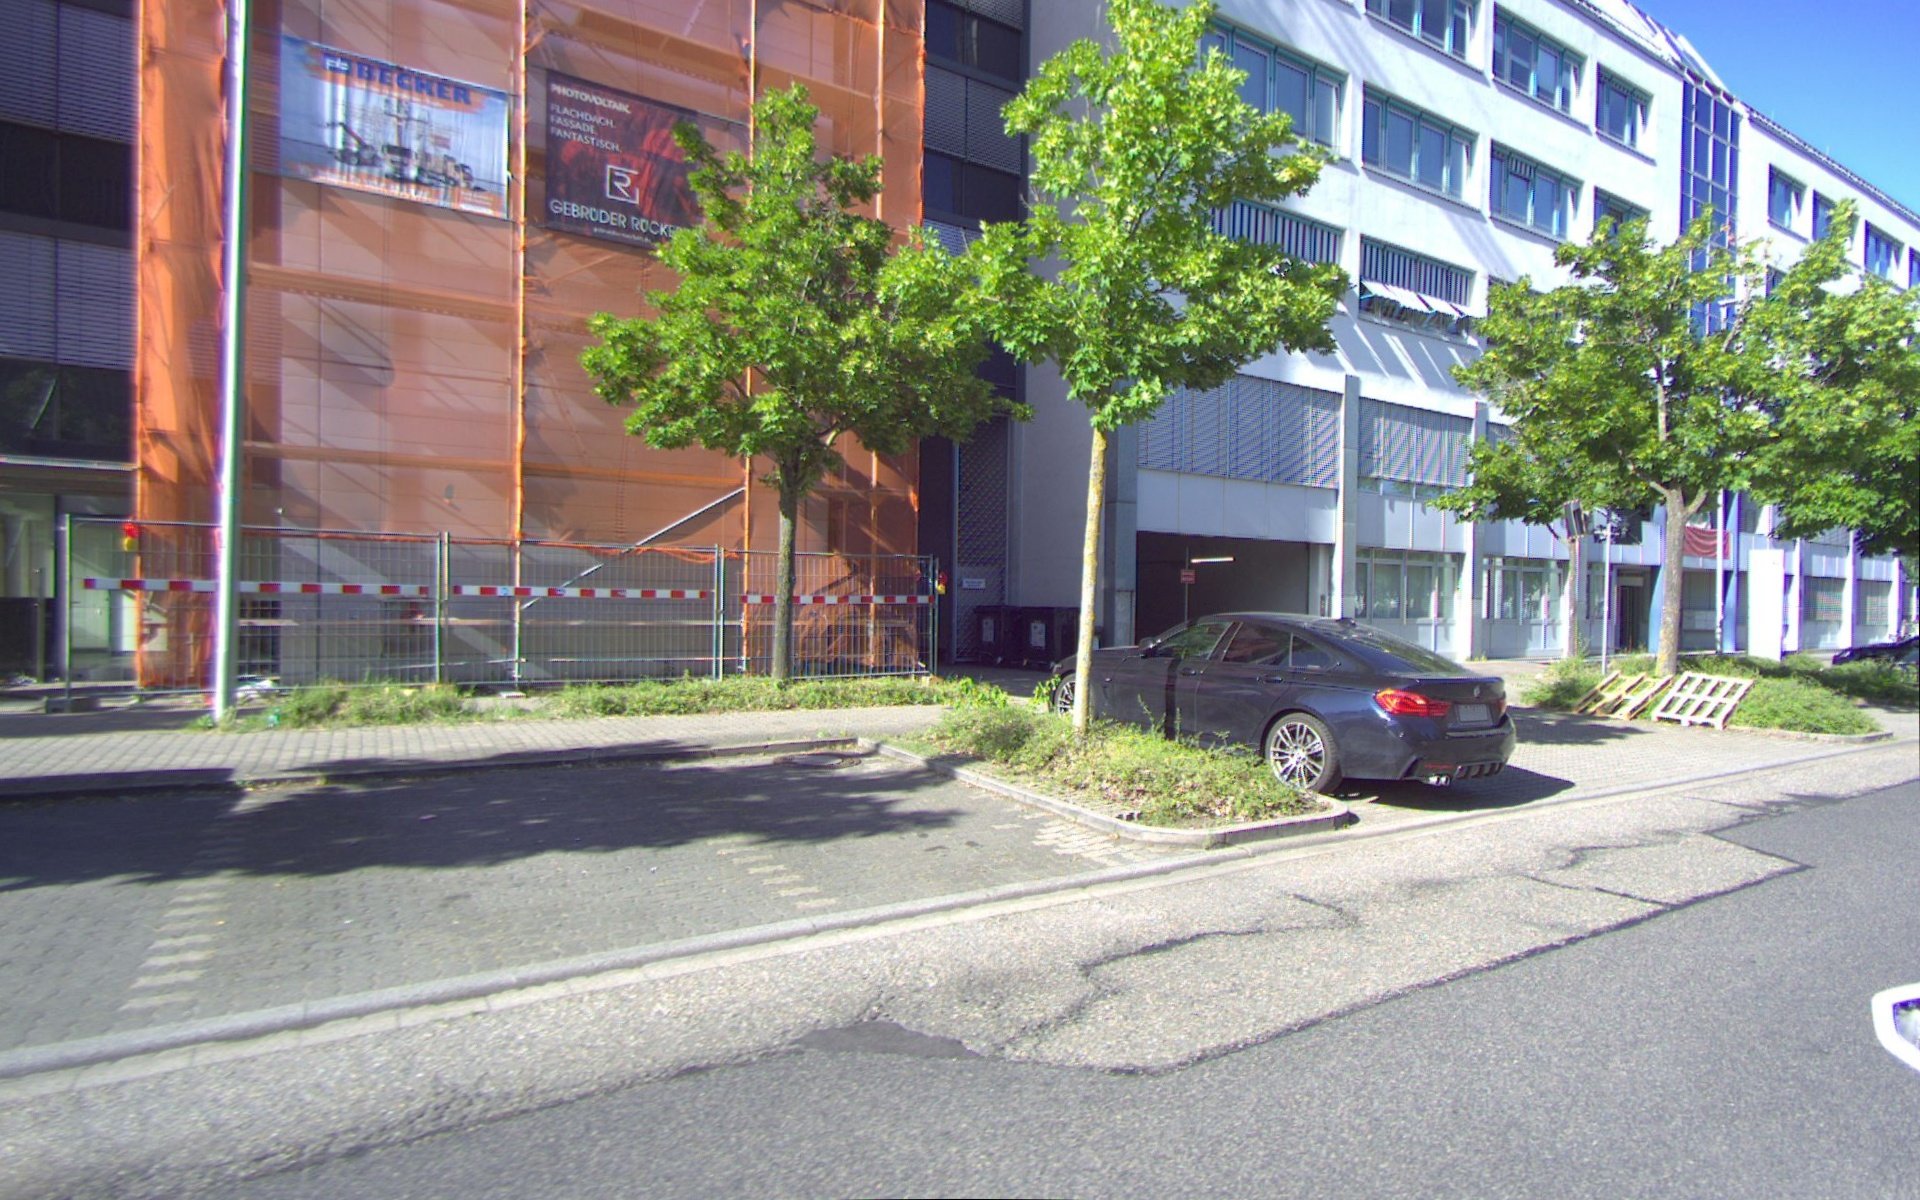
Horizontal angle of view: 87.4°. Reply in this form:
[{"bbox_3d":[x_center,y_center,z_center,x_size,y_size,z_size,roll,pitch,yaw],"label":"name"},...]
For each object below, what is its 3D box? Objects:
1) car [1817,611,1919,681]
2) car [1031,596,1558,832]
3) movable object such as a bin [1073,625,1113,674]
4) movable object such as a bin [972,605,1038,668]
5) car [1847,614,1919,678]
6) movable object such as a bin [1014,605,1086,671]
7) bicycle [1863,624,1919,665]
[{"bbox_3d":[22.228,1.110,22.454,1.677,1.451,4.354,1,2,-36],"label":"car"},{"bbox_3d":[2.805,0.817,9.411,1.958,1.451,4.356,1,2,-35],"label":"car"},{"bbox_3d":[2.603,0.958,19.730,0.603,0.939,0.485,1,-1,-29],"label":"movable object such as a bin"},{"bbox_3d":[0.951,0.768,21.515,0.903,1.297,1.231,1,-1,-29],"label":"movable object such as a bin"},{"bbox_3d":[24.187,1.214,23.833,1.674,1.451,4.363,1,2,-30],"label":"car"},{"bbox_3d":[1.819,0.764,20.399,0.903,1.297,1.231,1,-1,-29],"label":"movable object such as a bin"},{"bbox_3d":[32.212,1.541,34.721,2.203,1.365,0.706,2,-1,-27],"label":"bicycle"}]
